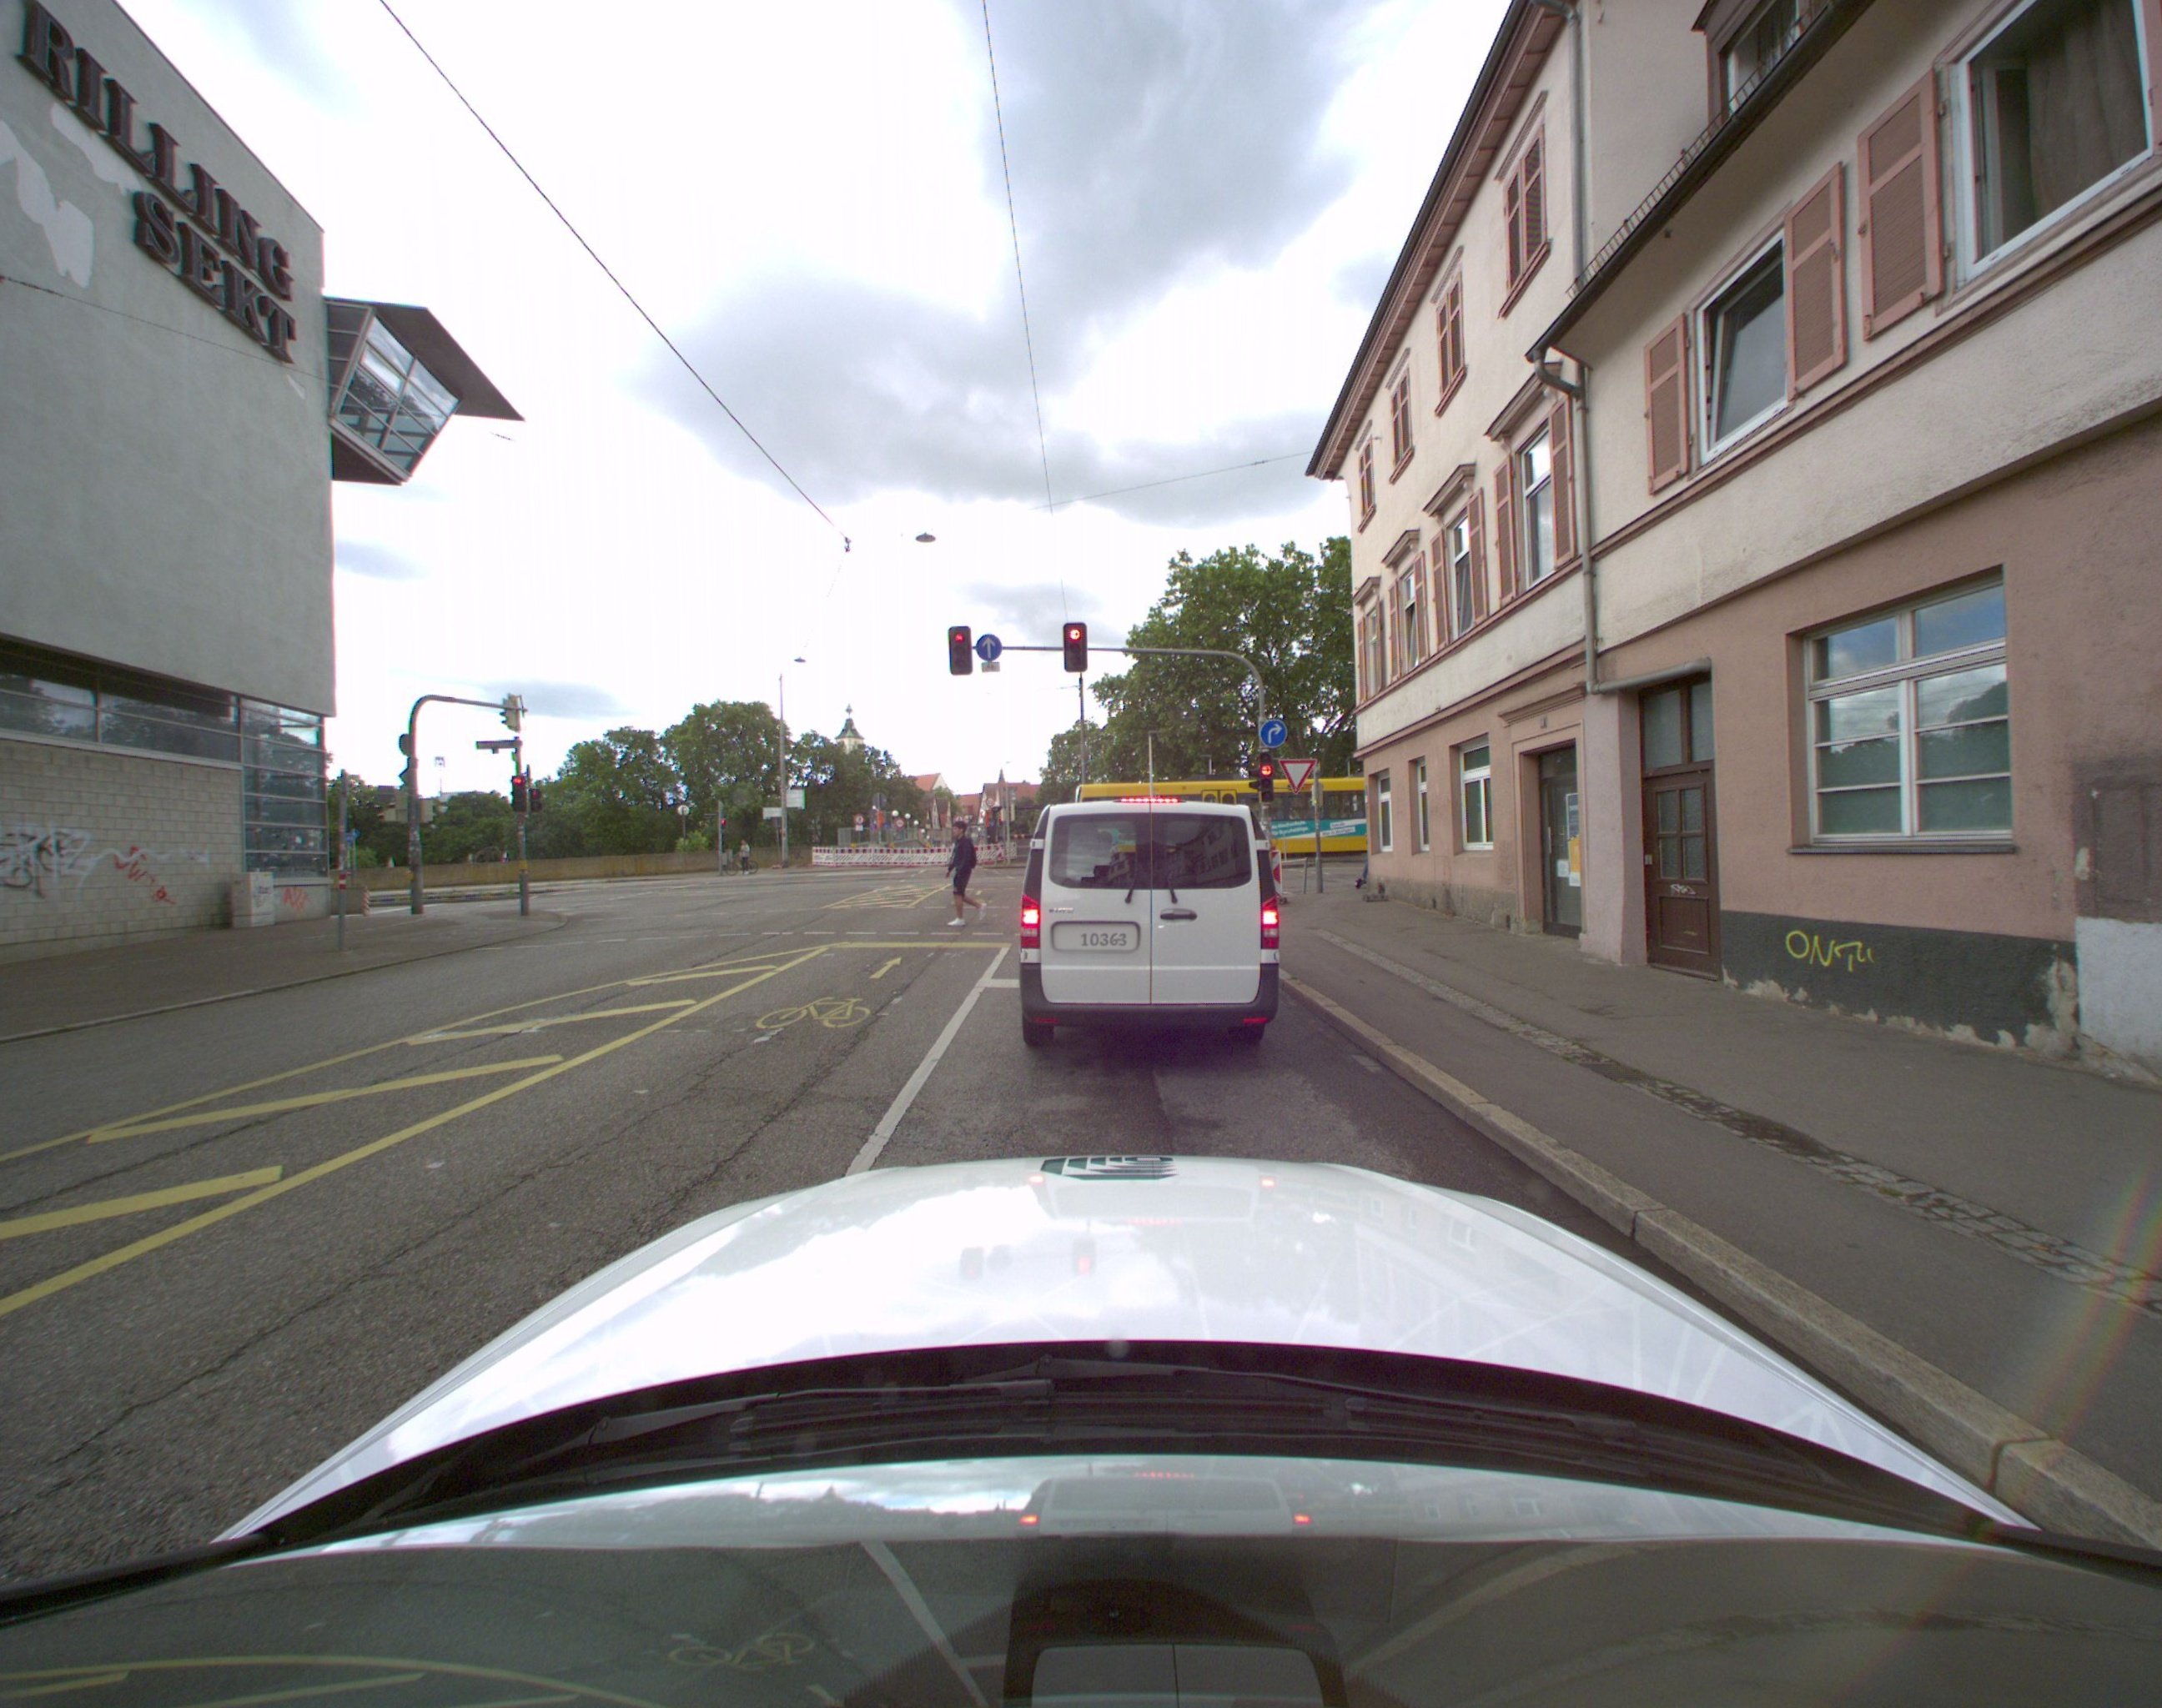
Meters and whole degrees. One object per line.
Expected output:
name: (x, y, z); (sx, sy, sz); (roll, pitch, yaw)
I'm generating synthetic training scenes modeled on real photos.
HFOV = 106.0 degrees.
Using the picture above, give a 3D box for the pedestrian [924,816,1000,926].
pedestrian: (-2.134, 0.271, 14.663); (1.159, 1.855, 0.672); (-3, 5, -37)

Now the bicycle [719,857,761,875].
bicycle: (-18.171, 0.642, 43.426); (1.962, 0.866, 0.553); (-2, 0, -42)

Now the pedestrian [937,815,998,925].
pedestrian: (-2.052, 0.281, 14.634); (1.006, 1.914, 0.622); (0, 0, -16)

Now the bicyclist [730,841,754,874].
bicyclist: (-18.148, 0.196, 43.588); (1.010, 1.743, 0.746); (-2, 1, -38)

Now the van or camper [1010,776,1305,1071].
van or camper: (0.492, 0.430, 7.577); (1.932, 1.924, 4.440); (0, 1, -1)

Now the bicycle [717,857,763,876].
bicycle: (-18.226, 0.642, 43.519); (2.148, 0.892, 0.752); (-2, 2, -38)

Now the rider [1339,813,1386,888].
rider: (7.253, -0.101, 20.984); (0.802, 1.847, 0.711); (-4, -1, -42)

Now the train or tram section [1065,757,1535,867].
train or tram section: (9.019, -1.807, 34.491); (19.185, 4.002, 3.306); (-2, 2, -4)
